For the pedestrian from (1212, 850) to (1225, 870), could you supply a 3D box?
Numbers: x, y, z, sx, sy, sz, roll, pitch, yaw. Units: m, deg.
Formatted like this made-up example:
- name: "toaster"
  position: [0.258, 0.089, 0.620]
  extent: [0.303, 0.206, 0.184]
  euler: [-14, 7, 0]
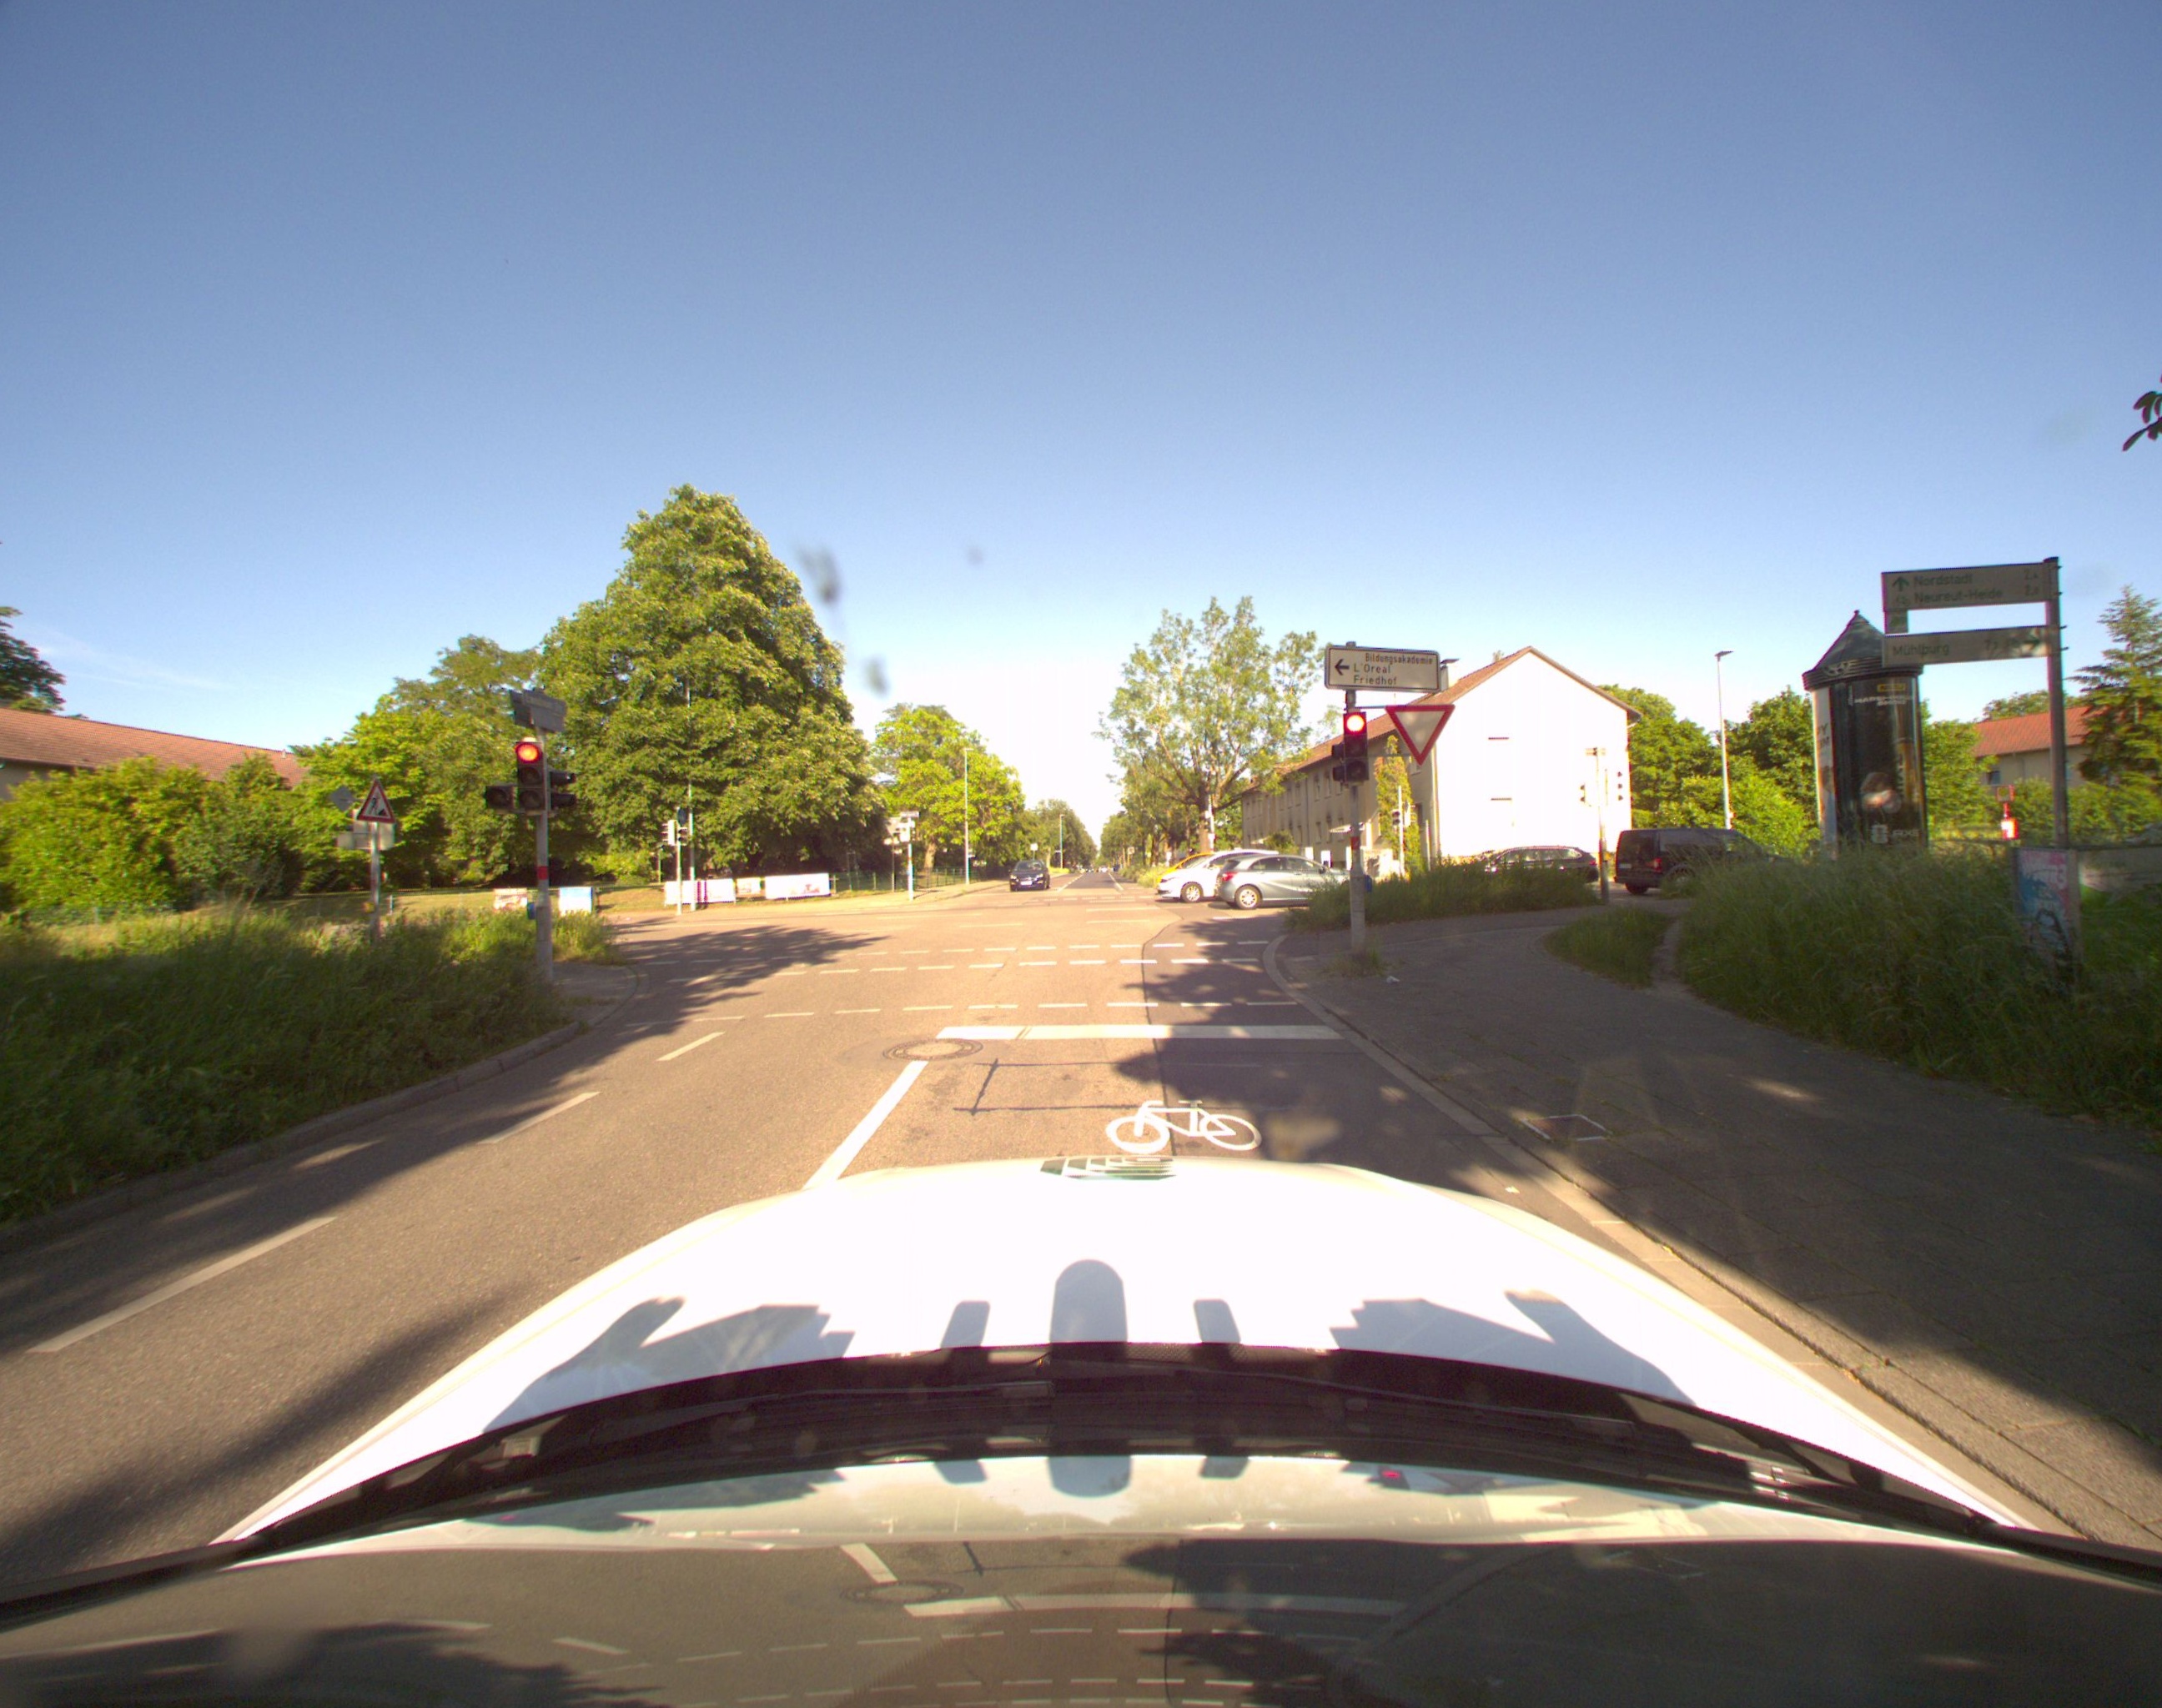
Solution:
- name: "pedestrian"
  position: [10.592, 0.444, 62.843]
  extent: [0.839, 1.493, 0.924]
  euler: [1, 0, 1]

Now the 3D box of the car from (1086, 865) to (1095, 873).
- name: "car"
  position: [2.203, 3.376, 185.451]
  extent: [1.751, 1.624, 3.271]
  euler: [-2, 0, 3]

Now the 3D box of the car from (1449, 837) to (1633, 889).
- name: "car"
  position: [14.391, 0.276, 25.622]
  extent: [4.719, 1.430, 1.997]
  euler: [-2, 0, -5]

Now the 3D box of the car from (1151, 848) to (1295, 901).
- name: "car"
  position: [4.346, 0.613, 25.295]
  extent: [4.102, 1.563, 1.753]
  euler: [0, -1, -7]

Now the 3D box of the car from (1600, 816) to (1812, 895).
- name: "car"
  position: [16.752, 0.034, 21.975]
  extent: [4.334, 1.887, 1.858]
  euler: [-2, 0, -3]

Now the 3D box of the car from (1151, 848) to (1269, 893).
- name: "car"
  position: [4.783, 0.595, 30.110]
  extent: [3.950, 1.582, 1.767]
  euler: [-1, -1, 25]

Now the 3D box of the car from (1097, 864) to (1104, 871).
- name: "car"
  position: [4.886, 3.480, 203.807]
  extent: [1.751, 1.624, 3.271]
  euler: [-2, 0, 3]

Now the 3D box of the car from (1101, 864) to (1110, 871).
- name: "car"
  position: [5.228, 2.909, 174.451]
  extent: [1.838, 1.461, 3.531]
  euler: [-2, 0, 1]

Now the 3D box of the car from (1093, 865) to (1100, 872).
- name: "car"
  position: [4.277, 4.000, 224.845]
  extent: [1.751, 1.624, 3.271]
  euler: [-2, 0, 3]

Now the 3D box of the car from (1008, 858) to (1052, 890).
- name: "car"
  position: [-2.377, 0.913, 38.830]
  extent: [1.704, 1.385, 3.473]
  euler: [-2, 0, 3]

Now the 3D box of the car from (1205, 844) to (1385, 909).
- name: "car"
  position: [5.634, 0.575, 21.799]
  extent: [4.270, 1.489, 1.913]
  euler: [-2, 0, -1]
